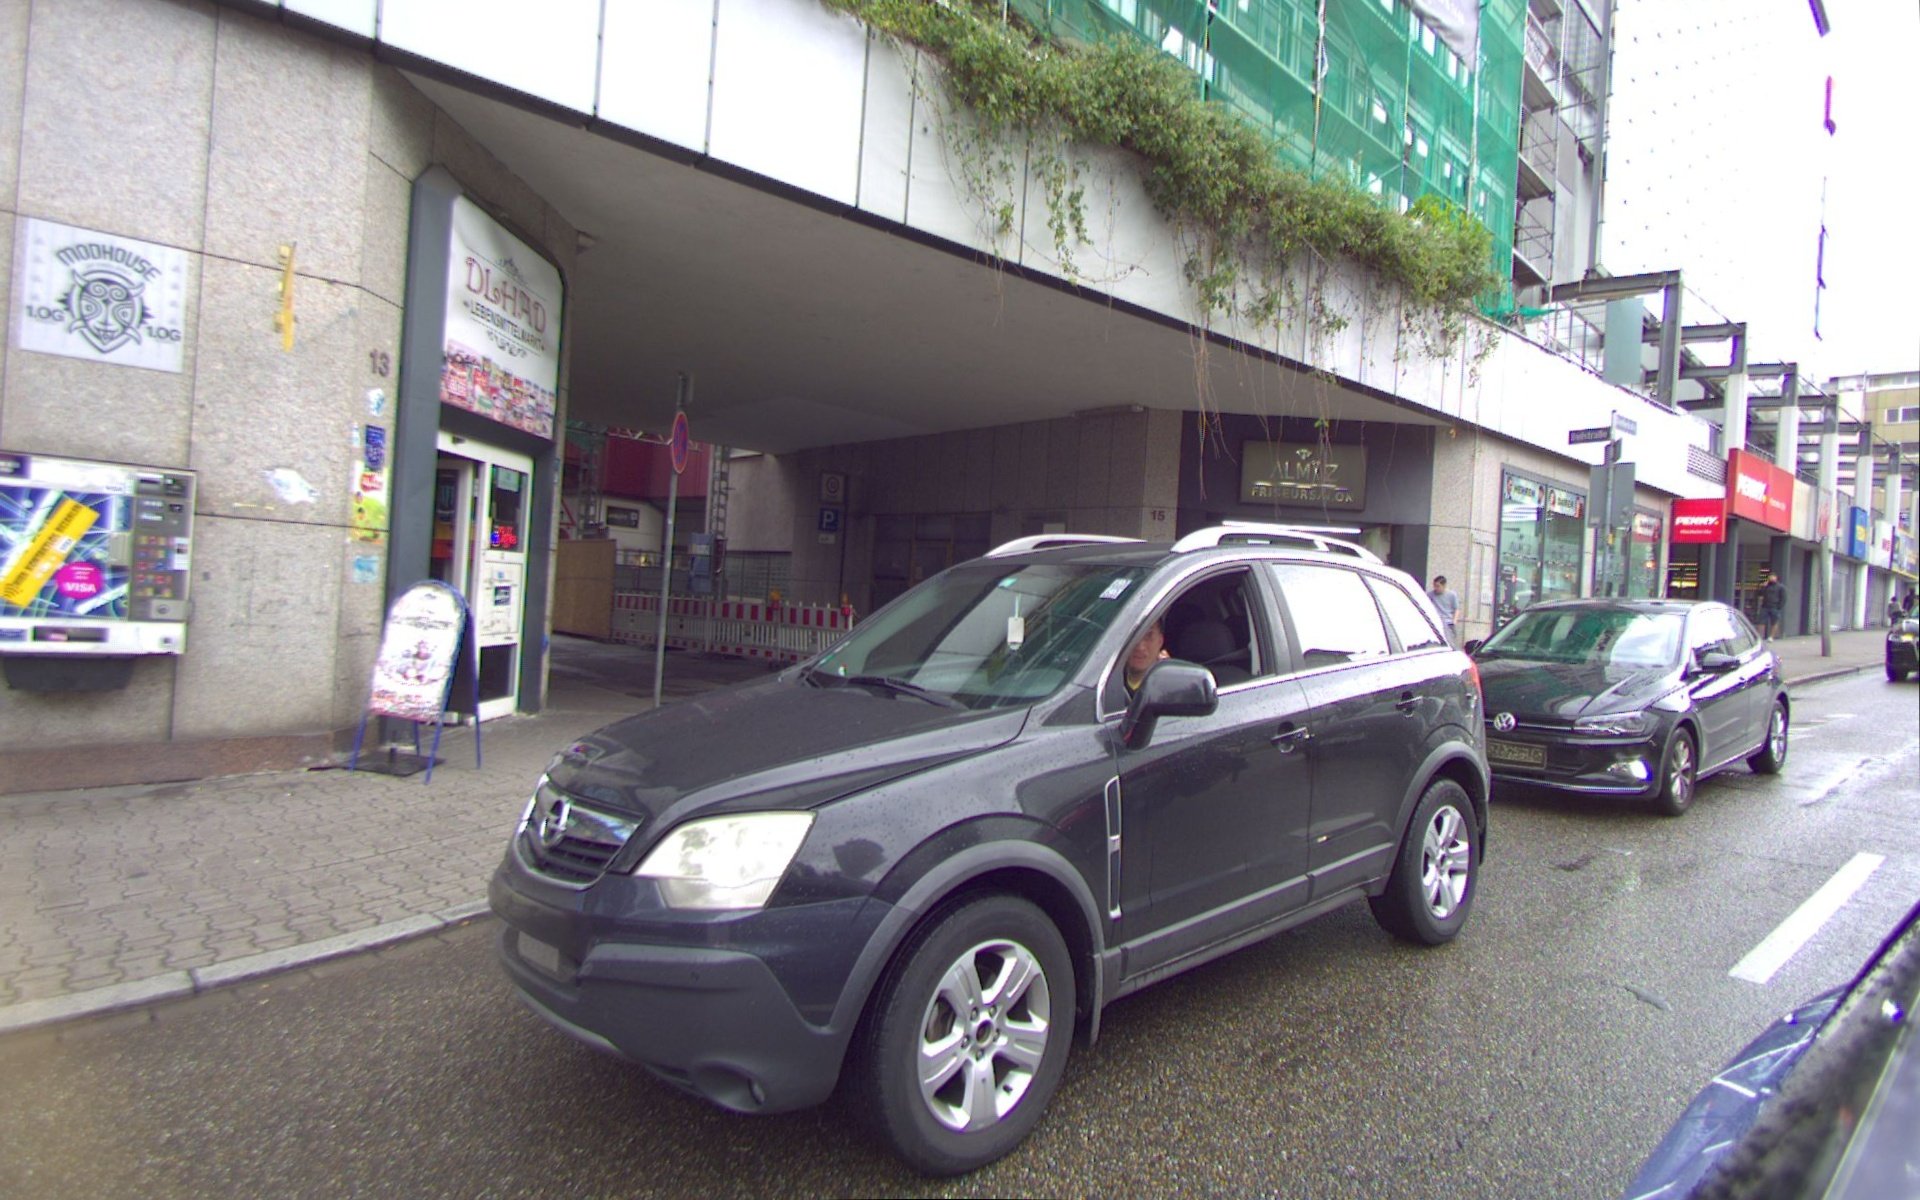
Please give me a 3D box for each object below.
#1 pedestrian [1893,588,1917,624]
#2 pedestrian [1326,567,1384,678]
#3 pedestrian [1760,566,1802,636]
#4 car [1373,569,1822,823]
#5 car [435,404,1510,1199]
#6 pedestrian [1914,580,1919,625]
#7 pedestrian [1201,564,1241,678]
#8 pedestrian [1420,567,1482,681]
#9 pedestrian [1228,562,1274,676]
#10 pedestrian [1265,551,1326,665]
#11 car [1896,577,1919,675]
[{"bbox_3d":[32.075,0.210,34.346,0.570,1.181,0.509,-1,3,-42],"label":"pedestrian"},{"bbox_3d":[6.032,0.322,15.464,0.578,1.647,0.666,3,3,44],"label":"pedestrian"},{"bbox_3d":[20.370,0.025,25.117,0.499,1.699,0.581,0,2,-19],"label":"pedestrian"},{"bbox_3d":[5.190,0.593,8.035,4.087,1.523,1.759,1,0,-38],"label":"car"},{"bbox_3d":[0.401,0.524,3.993,4.090,1.788,1.763,1,0,-40],"label":"car"},{"bbox_3d":[32.414,0.086,33.936,0.570,1.519,0.509,-1,3,-42],"label":"pedestrian"},{"bbox_3d":[4.020,0.319,15.608,0.474,1.729,0.467,0,0,1],"label":"pedestrian"},{"bbox_3d":[7.417,0.342,15.278,0.721,1.663,0.637,-1,1,-44],"label":"pedestrian"},{"bbox_3d":[4.234,0.263,14.732,0.630,1.615,0.574,0,1,17],"label":"pedestrian"},{"bbox_3d":[5.583,0.108,16.896,0.730,1.838,0.773,2,2,3],"label":"pedestrian"},{"bbox_3d":[17.852,0.419,17.550,4.089,1.628,1.841,-1,1,-39],"label":"car"}]
